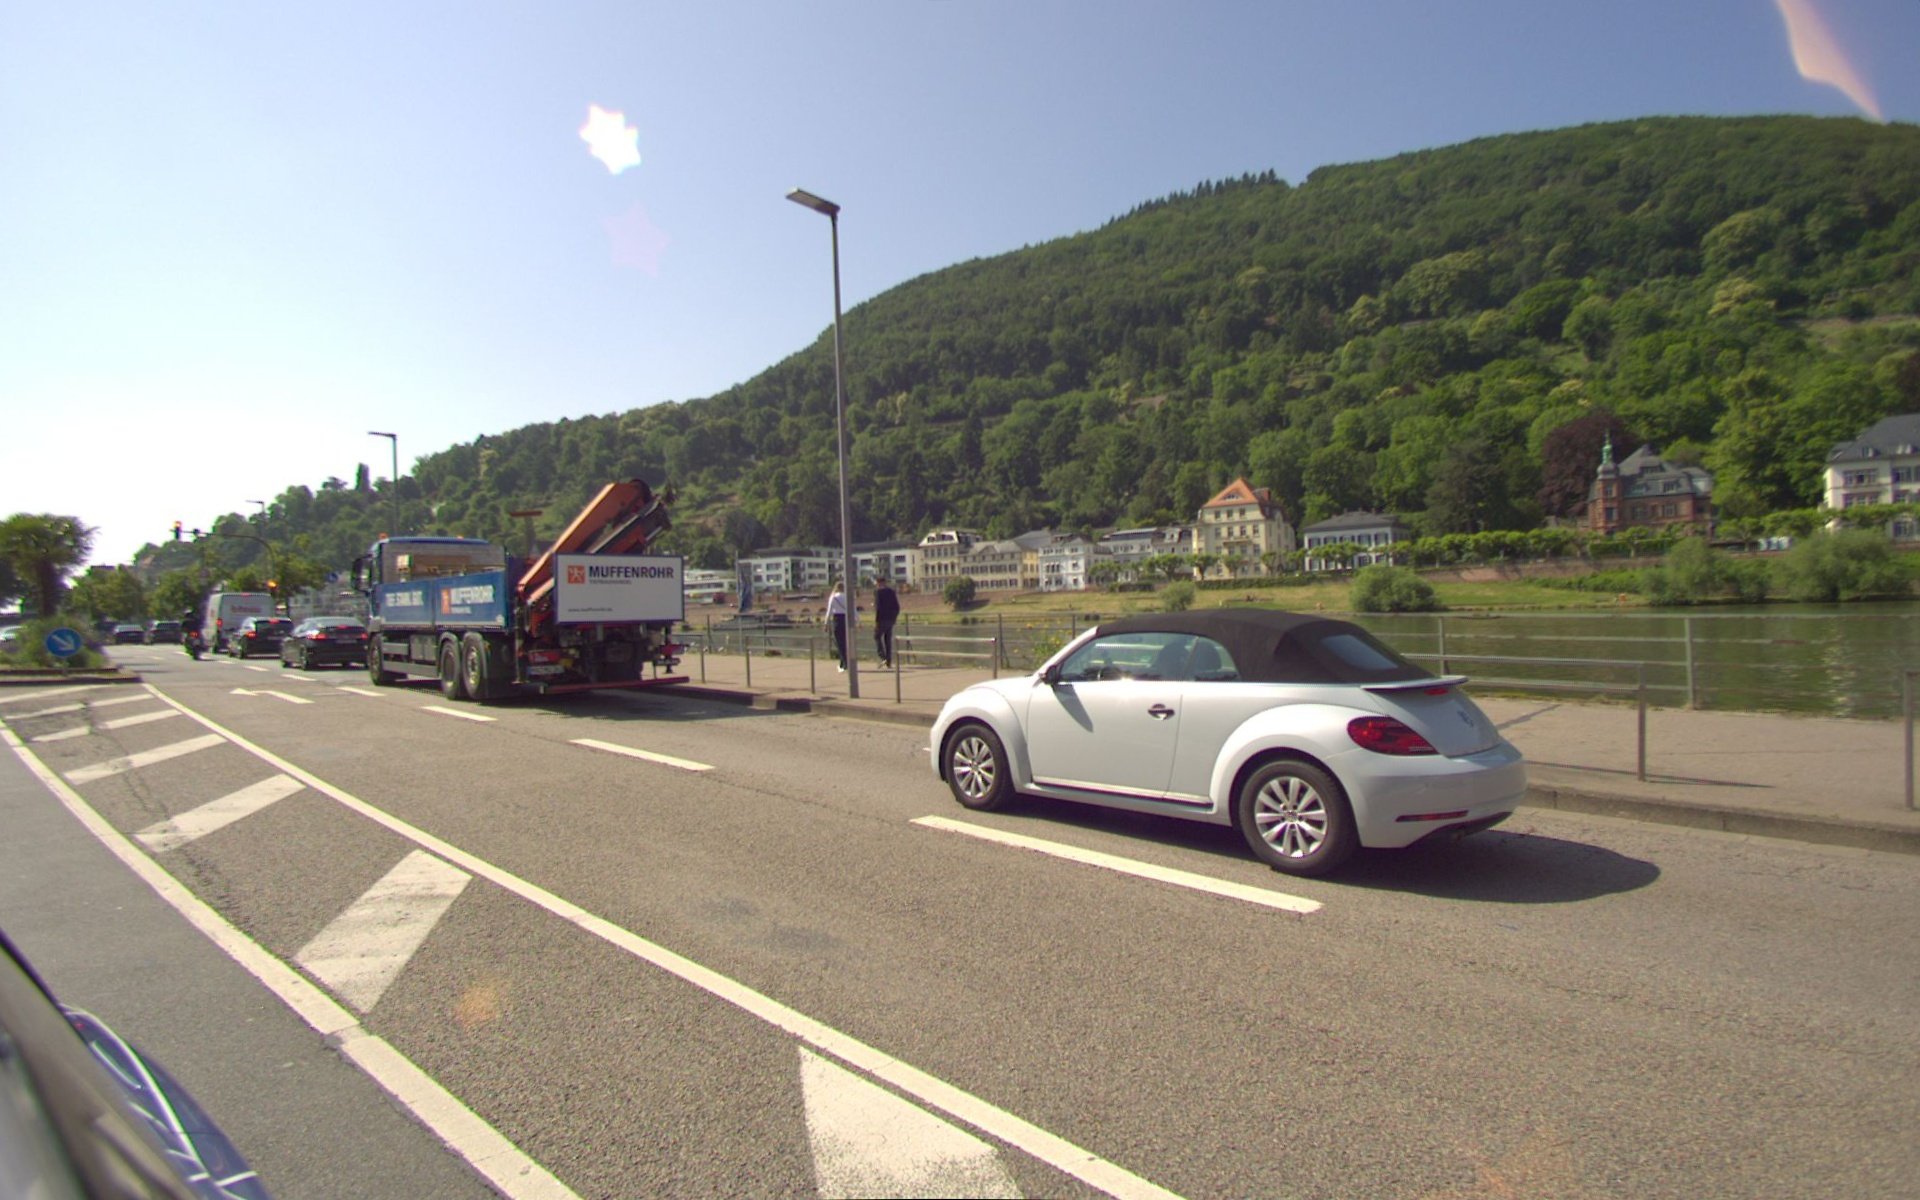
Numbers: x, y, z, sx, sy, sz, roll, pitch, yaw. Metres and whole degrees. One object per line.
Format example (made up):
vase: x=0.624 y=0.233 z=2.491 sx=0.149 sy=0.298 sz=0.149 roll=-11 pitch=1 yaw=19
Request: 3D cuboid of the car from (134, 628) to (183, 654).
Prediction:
car: x=-49.178 y=2.473 z=62.046 sx=1.970 sy=1.463 sz=4.265 roll=-2 pitch=0 yaw=-43

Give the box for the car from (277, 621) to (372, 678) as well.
car: x=-17.858 y=1.330 z=28.356 sx=1.637 sy=1.447 sz=4.086 roll=0 pitch=-1 yaw=-41

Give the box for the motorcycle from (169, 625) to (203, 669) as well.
motorcycle: x=-25.950 y=1.554 z=33.914 sx=0.717 sy=1.397 sz=2.515 roll=0 pitch=-1 yaw=-41

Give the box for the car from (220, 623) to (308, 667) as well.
car: x=-25.251 y=1.586 z=36.645 sx=1.969 sy=1.429 sz=4.926 roll=0 pitch=-1 yaw=-42

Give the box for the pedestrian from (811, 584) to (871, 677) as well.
pedestrian: x=-2.302 y=0.579 z=19.537 sx=0.703 sy=1.719 sz=0.846 roll=-4 pitch=1 yaw=-41

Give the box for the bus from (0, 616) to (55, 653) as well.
bus: x=-91.396 y=3.376 z=98.999 sx=10.782 sy=3.413 sz=2.623 roll=-2 pitch=-1 yaw=39

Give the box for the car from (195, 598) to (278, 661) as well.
car: x=-30.699 y=1.276 z=42.894 sx=2.168 sy=2.545 sz=4.753 roll=3 pitch=-4 yaw=-43

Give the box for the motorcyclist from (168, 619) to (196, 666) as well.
motorcyclist: x=-26.167 y=1.413 z=34.053 sx=0.693 sy=1.538 sz=0.862 roll=0 pitch=-1 yaw=-41

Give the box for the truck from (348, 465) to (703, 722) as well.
truck: x=-8.648 y=0.029 z=18.804 sx=2.610 sy=3.503 sz=11.120 roll=0 pitch=-1 yaw=-42

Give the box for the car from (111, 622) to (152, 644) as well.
car: x=-60.227 y=2.381 z=73.561 sx=3.892 sy=1.447 sz=1.882 roll=-2 pitch=-1 yaw=44

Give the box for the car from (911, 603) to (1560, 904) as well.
car: x=1.627 y=0.775 z=6.988 sx=1.757 sy=1.454 sz=4.001 roll=0 pitch=-1 yaw=-43

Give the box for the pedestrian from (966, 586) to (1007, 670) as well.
pedestrian: x=0.505 y=0.526 z=19.308 sx=0.580 sy=1.569 sz=0.415 roll=-4 pitch=1 yaw=-42

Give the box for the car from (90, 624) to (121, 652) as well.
car: x=-69.813 y=3.067 z=82.630 sx=1.842 sy=2.166 sz=5.029 roll=-1 pitch=-1 yaw=-41

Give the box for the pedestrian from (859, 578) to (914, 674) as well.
pedestrian: x=-1.442 y=0.496 z=19.934 sx=0.758 sy=1.817 sz=0.636 roll=-4 pitch=1 yaw=-42

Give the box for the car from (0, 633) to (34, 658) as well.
car: x=-60.003 y=2.889 z=64.070 sx=1.969 sy=1.517 sz=4.597 roll=0 pitch=-2 yaw=-41
